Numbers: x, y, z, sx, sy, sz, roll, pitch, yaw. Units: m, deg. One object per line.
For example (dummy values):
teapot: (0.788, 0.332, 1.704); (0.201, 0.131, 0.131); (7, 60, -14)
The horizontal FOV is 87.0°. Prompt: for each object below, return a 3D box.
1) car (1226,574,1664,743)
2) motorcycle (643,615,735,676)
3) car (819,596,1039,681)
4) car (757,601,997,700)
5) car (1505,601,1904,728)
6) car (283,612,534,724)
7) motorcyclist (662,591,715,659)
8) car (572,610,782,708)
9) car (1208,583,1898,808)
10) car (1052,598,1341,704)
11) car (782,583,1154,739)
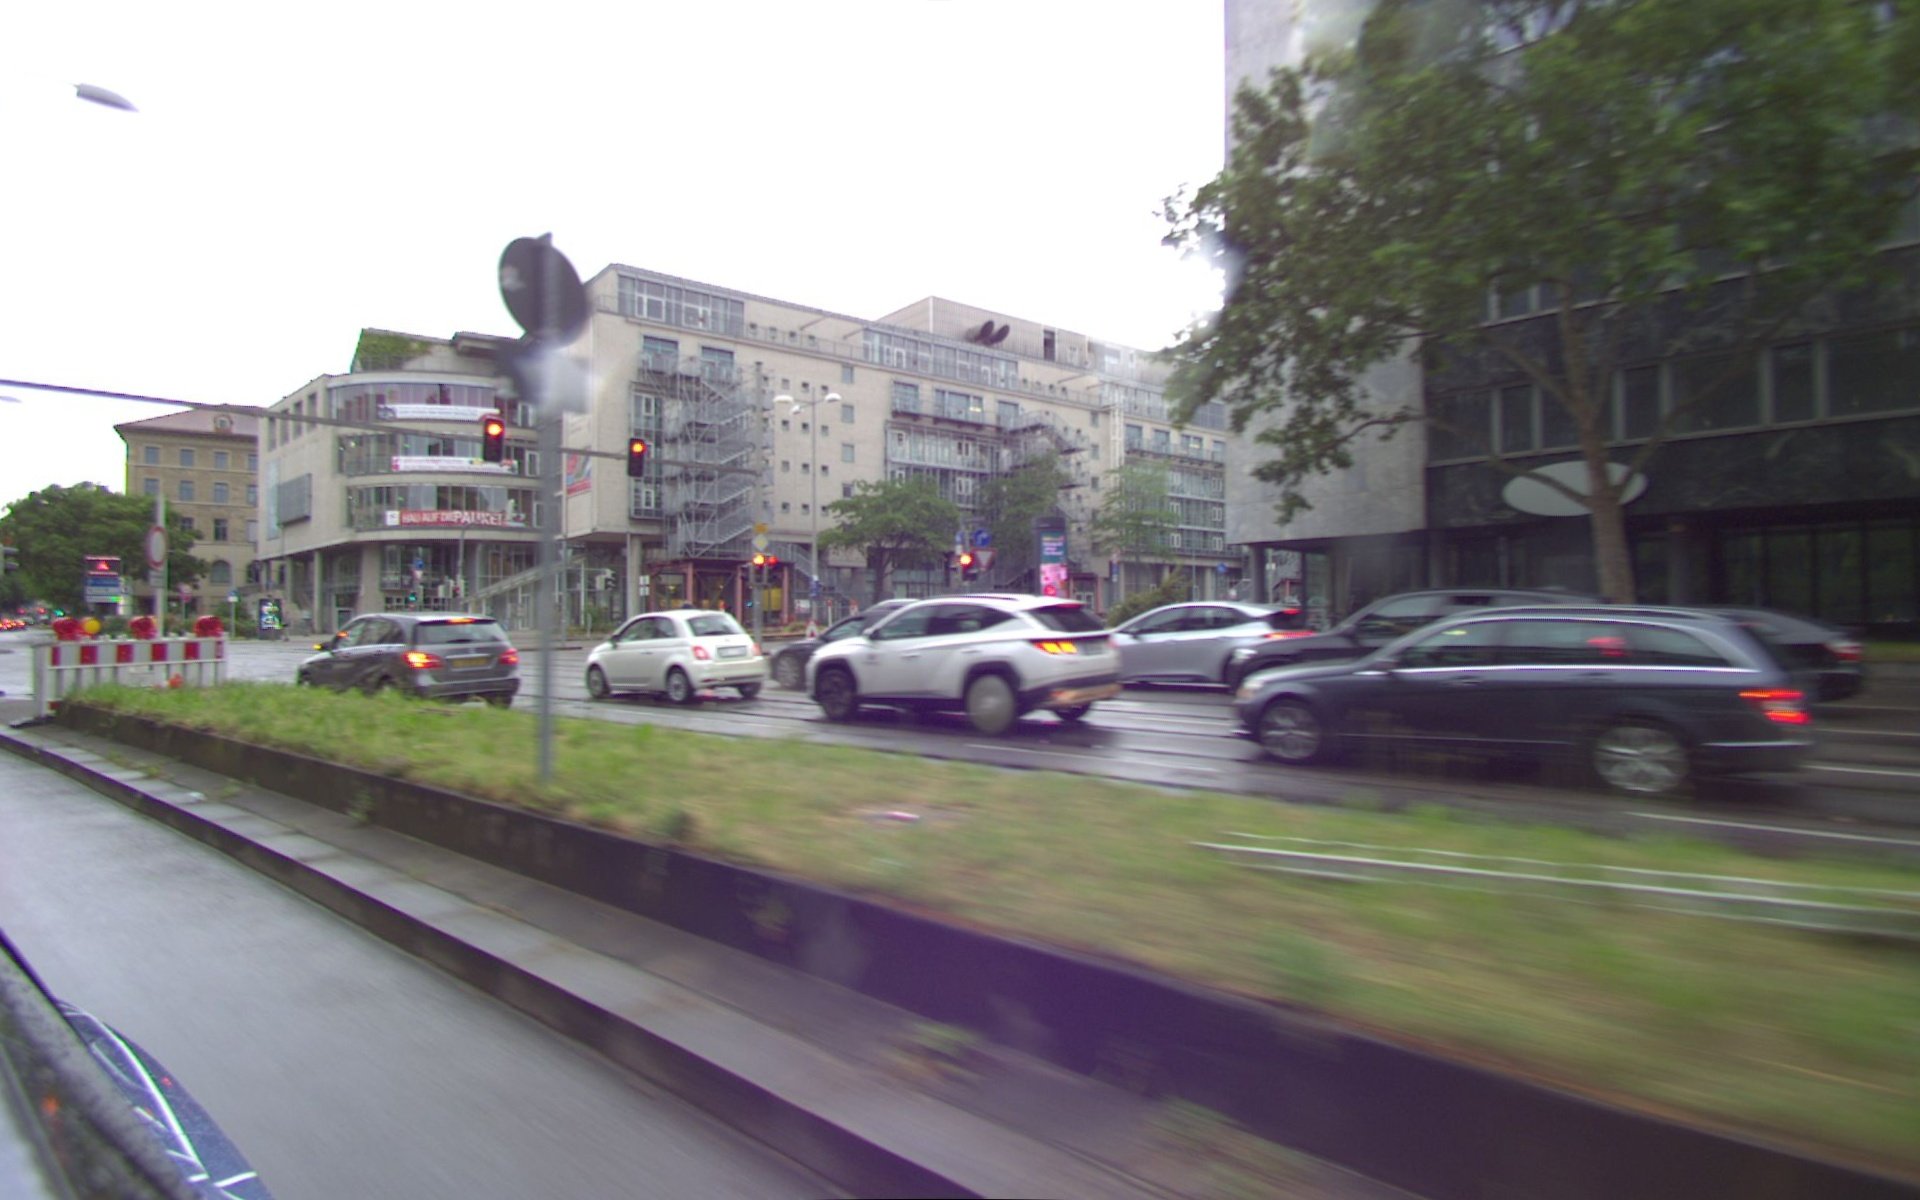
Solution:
car: (5.679, 0.624, 12.234); (4.412, 1.678, 1.823); (-2, -1, 43)
motorcycle: (-5.717, 0.934, 21.320); (2.038, 1.237, 0.712); (-1, 0, 35)
car: (-0.745, 0.757, 21.468); (4.656, 1.630, 1.740); (-1, 0, 39)
car: (-1.573, 0.840, 18.374); (4.216, 1.577, 1.819); (-1, 0, 37)
car: (9.612, 0.747, 13.336); (3.974, 1.397, 1.974); (-1, 0, 39)
car: (-8.554, 0.964, 15.586); (4.156, 1.493, 1.827); (-1, -1, 37)
motorcyclist: (-5.715, 0.524, 21.315); (0.731, 1.402, 0.780); (-2, 0, 35)
car: (-4.852, 0.946, 17.213); (3.424, 1.487, 1.702); (-1, -1, 37)
car: (4.858, 0.671, 8.928); (4.914, 1.462, 1.824); (-1, -1, 42)
car: (4.086, 0.813, 17.895); (4.583, 1.616, 1.974); (-1, 0, 39)
car: (-0.046, 0.712, 13.272); (4.794, 1.698, 1.858); (-1, -1, 40)
